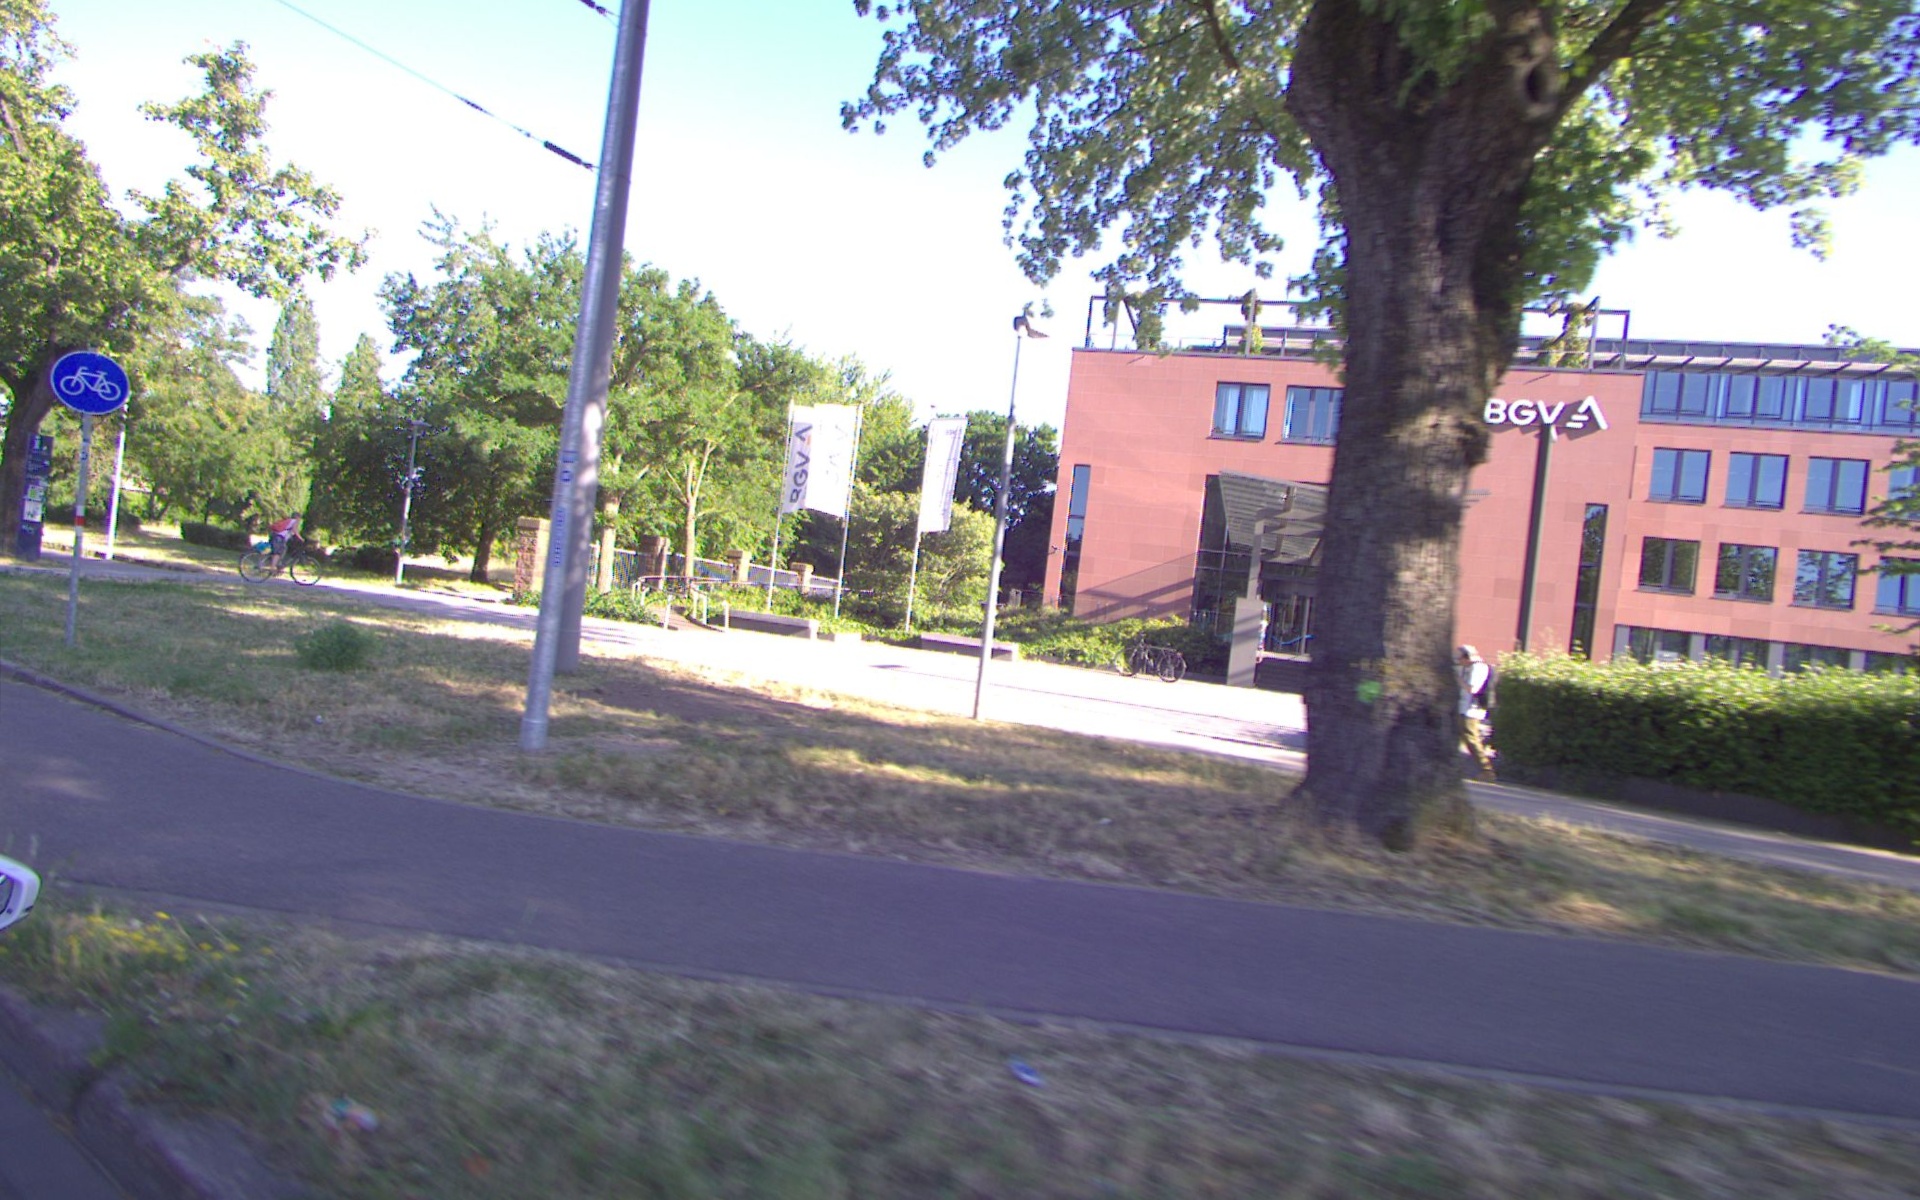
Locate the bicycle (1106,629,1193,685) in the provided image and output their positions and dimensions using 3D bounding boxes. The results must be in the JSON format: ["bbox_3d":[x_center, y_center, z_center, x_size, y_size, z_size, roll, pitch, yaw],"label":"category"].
[{"bbox_3d":[4.769,1.424,25.335,1.897,1.170,0.822,6,0,33],"label":"bicycle"}]

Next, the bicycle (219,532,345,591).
[{"bbox_3d":[-15.776,-0.878,23.476,0.753,1.053,2.265,7,-1,28],"label":"bicycle"}]

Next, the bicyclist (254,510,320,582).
[{"bbox_3d":[-15.718,-1.252,23.493,0.753,1.514,0.905,7,0,28],"label":"bicyclist"}]

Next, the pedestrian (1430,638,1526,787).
[{"bbox_3d":[5.915,1.258,11.477,0.770,1.559,0.650,6,1,33],"label":"pedestrian"}]
